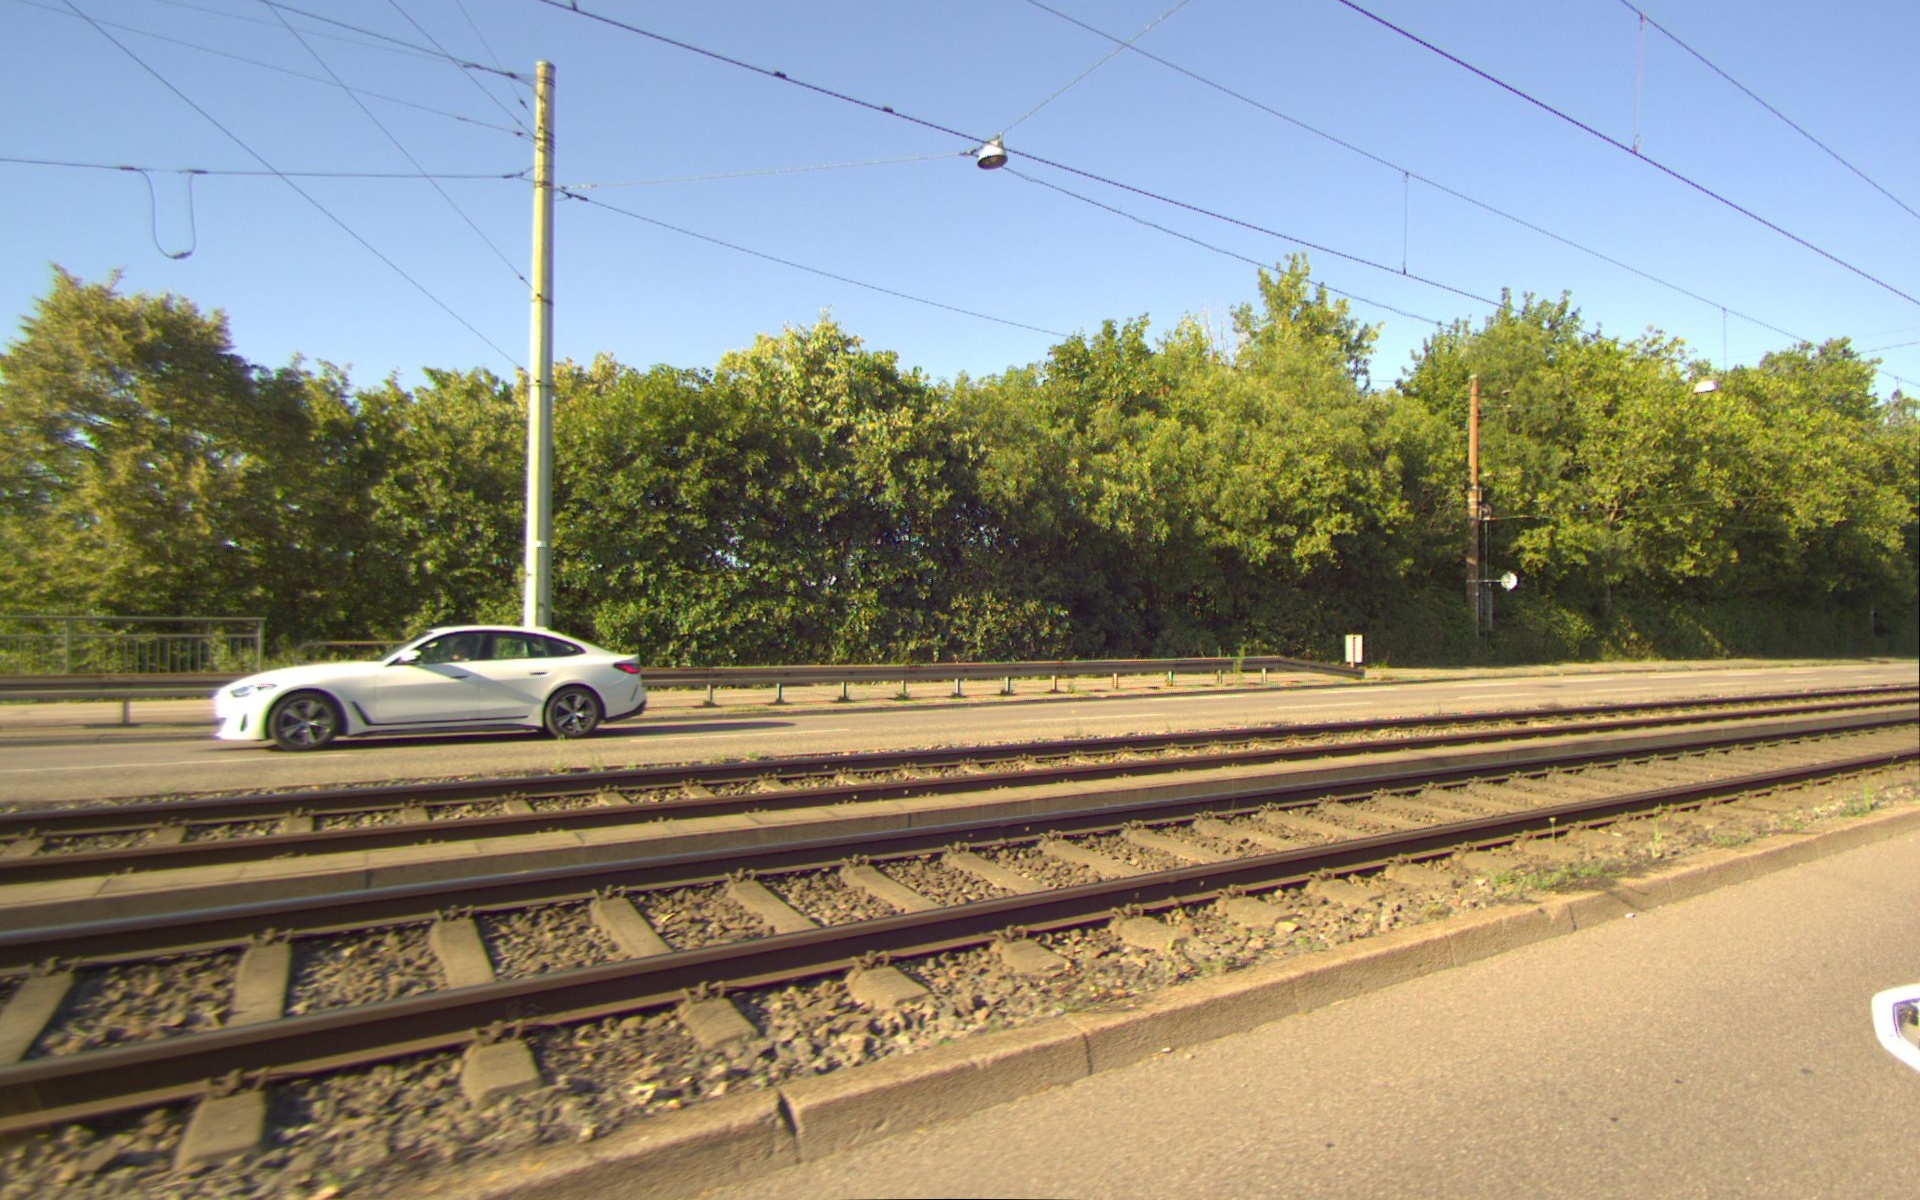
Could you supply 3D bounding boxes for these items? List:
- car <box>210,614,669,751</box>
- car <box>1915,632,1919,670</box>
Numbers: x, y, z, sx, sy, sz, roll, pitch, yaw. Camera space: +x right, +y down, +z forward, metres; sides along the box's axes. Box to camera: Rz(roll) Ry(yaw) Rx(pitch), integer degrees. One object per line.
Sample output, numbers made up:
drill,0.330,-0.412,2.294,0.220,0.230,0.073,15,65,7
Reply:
car,-6.317,0.979,12.625,4.826,1.432,1.745,2,-4,-34
car,39.615,2.006,39.671,4.451,1.451,1.649,2,-3,-31
